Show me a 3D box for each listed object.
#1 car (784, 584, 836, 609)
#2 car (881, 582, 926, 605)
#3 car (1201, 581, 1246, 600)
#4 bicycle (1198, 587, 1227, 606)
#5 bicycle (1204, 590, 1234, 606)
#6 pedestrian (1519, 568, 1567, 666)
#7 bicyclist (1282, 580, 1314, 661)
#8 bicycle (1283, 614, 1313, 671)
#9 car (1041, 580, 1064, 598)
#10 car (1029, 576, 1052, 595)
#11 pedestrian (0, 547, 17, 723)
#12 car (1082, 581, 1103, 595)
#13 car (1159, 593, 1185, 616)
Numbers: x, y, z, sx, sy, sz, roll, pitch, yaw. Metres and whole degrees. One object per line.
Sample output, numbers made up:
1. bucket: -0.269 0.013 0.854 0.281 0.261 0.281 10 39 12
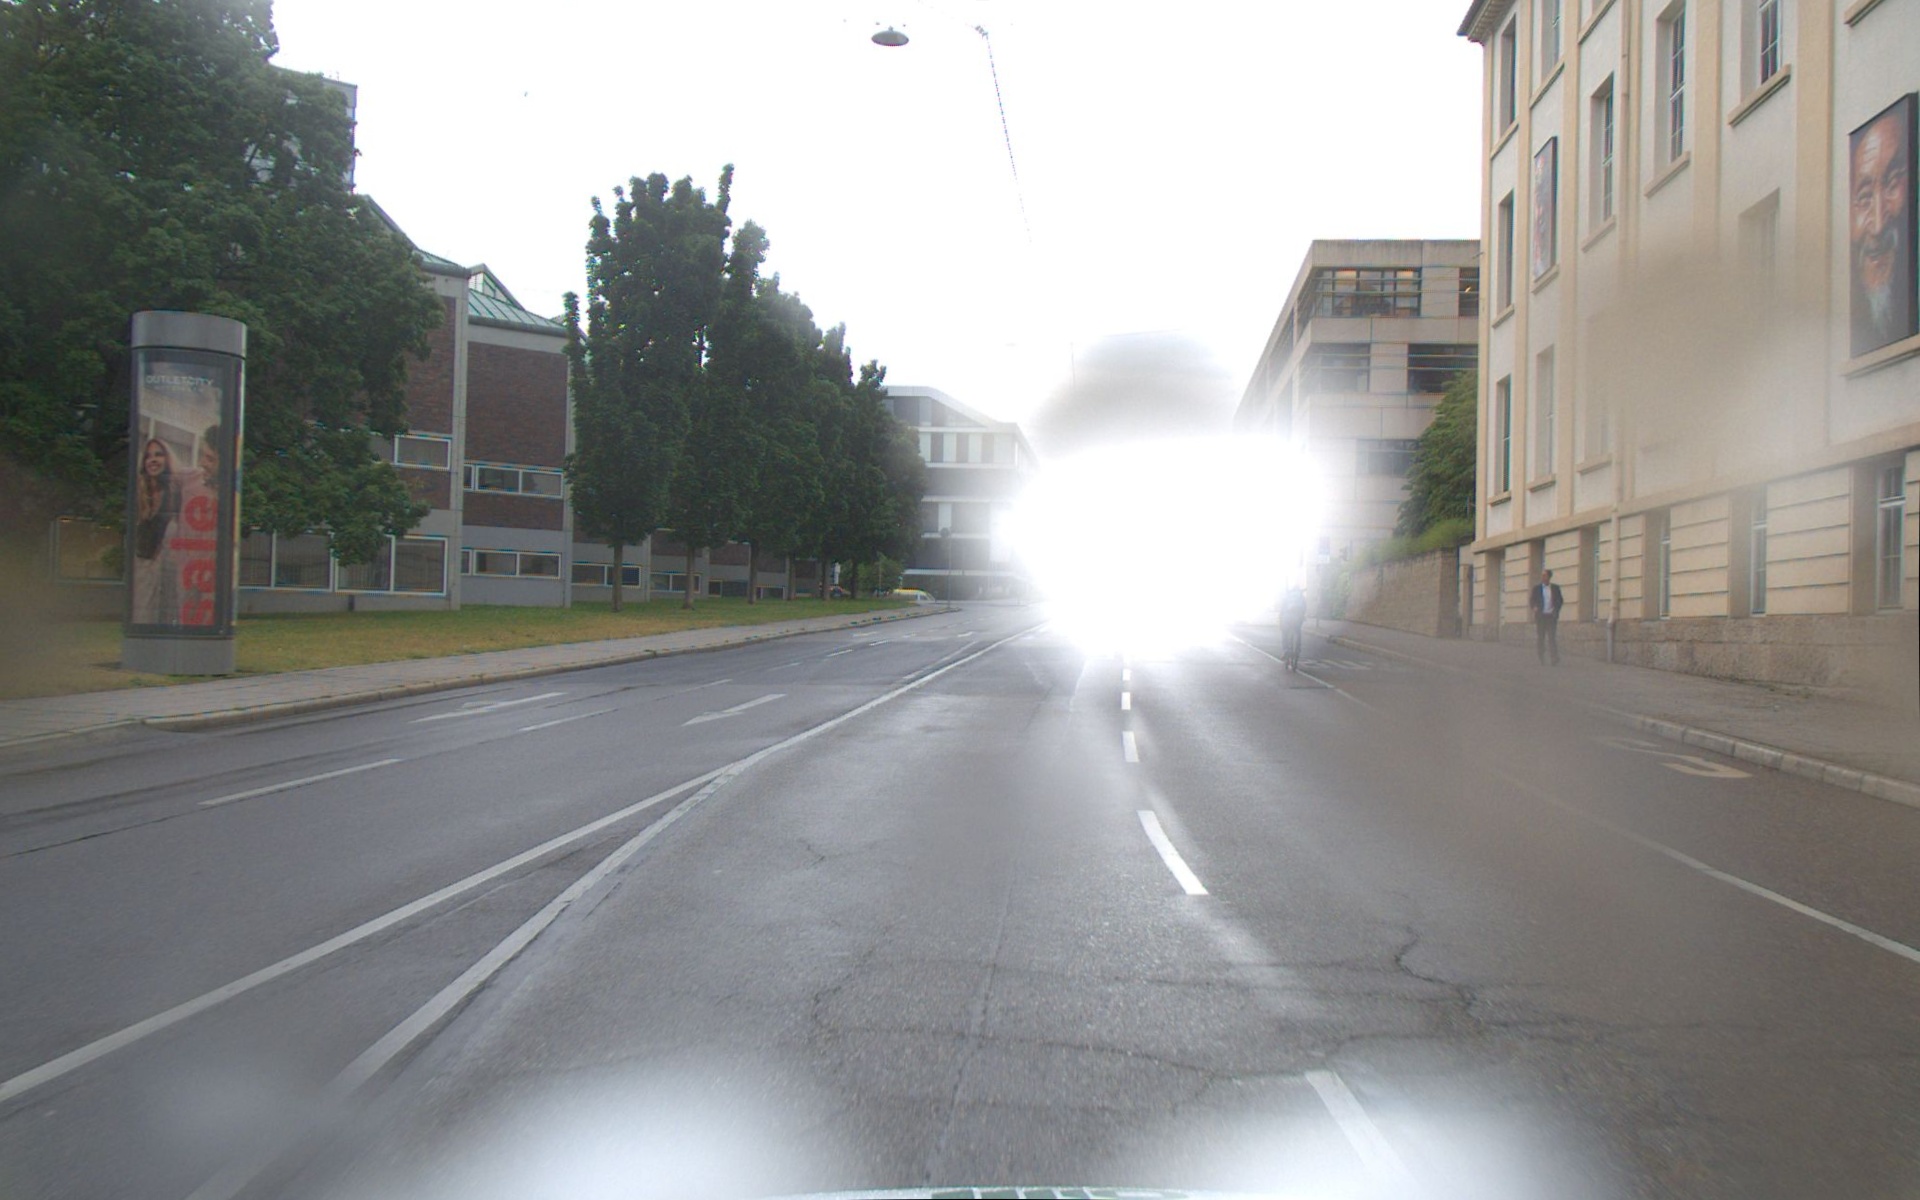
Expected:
1. car: -12.222 -0.263 135.206 3.822 1.847 1.936 2 0 9
2. car: -5.772 -0.639 169.498 4.496 2.212 1.931 2 0 0
3. car: 26.586 -0.983 167.139 4.344 1.742 1.906 -2 0 5
4. bicycle: 15.830 -0.229 103.640 1.693 1.138 0.660 1 0 1
5. bicycle: 16.070 -0.140 102.628 1.722 0.970 0.660 1 0 3
6. pedestrian: 11.148 0.325 31.653 0.656 1.829 0.852 2 0 7
7. bicyclist: 6.284 0.374 30.790 0.474 1.458 0.931 2 0 8
8. bicycle: 6.285 0.779 30.793 0.438 0.980 1.691 1 1 8
9. car: 9.618 -1.140 172.421 1.921 1.780 4.946 2 0 8
10. car: 7.600 -1.333 155.683 1.810 1.646 4.494 2 0 6
11. pedestrian: -9.758 0.329 15.950 0.656 1.716 0.914 2 0 13
12. car: 13.995 -1.277 174.912 1.841 1.517 5.224 -1 0 8
13. car: 16.201 0.335 126.549 1.734 1.632 4.397 2 0 5
